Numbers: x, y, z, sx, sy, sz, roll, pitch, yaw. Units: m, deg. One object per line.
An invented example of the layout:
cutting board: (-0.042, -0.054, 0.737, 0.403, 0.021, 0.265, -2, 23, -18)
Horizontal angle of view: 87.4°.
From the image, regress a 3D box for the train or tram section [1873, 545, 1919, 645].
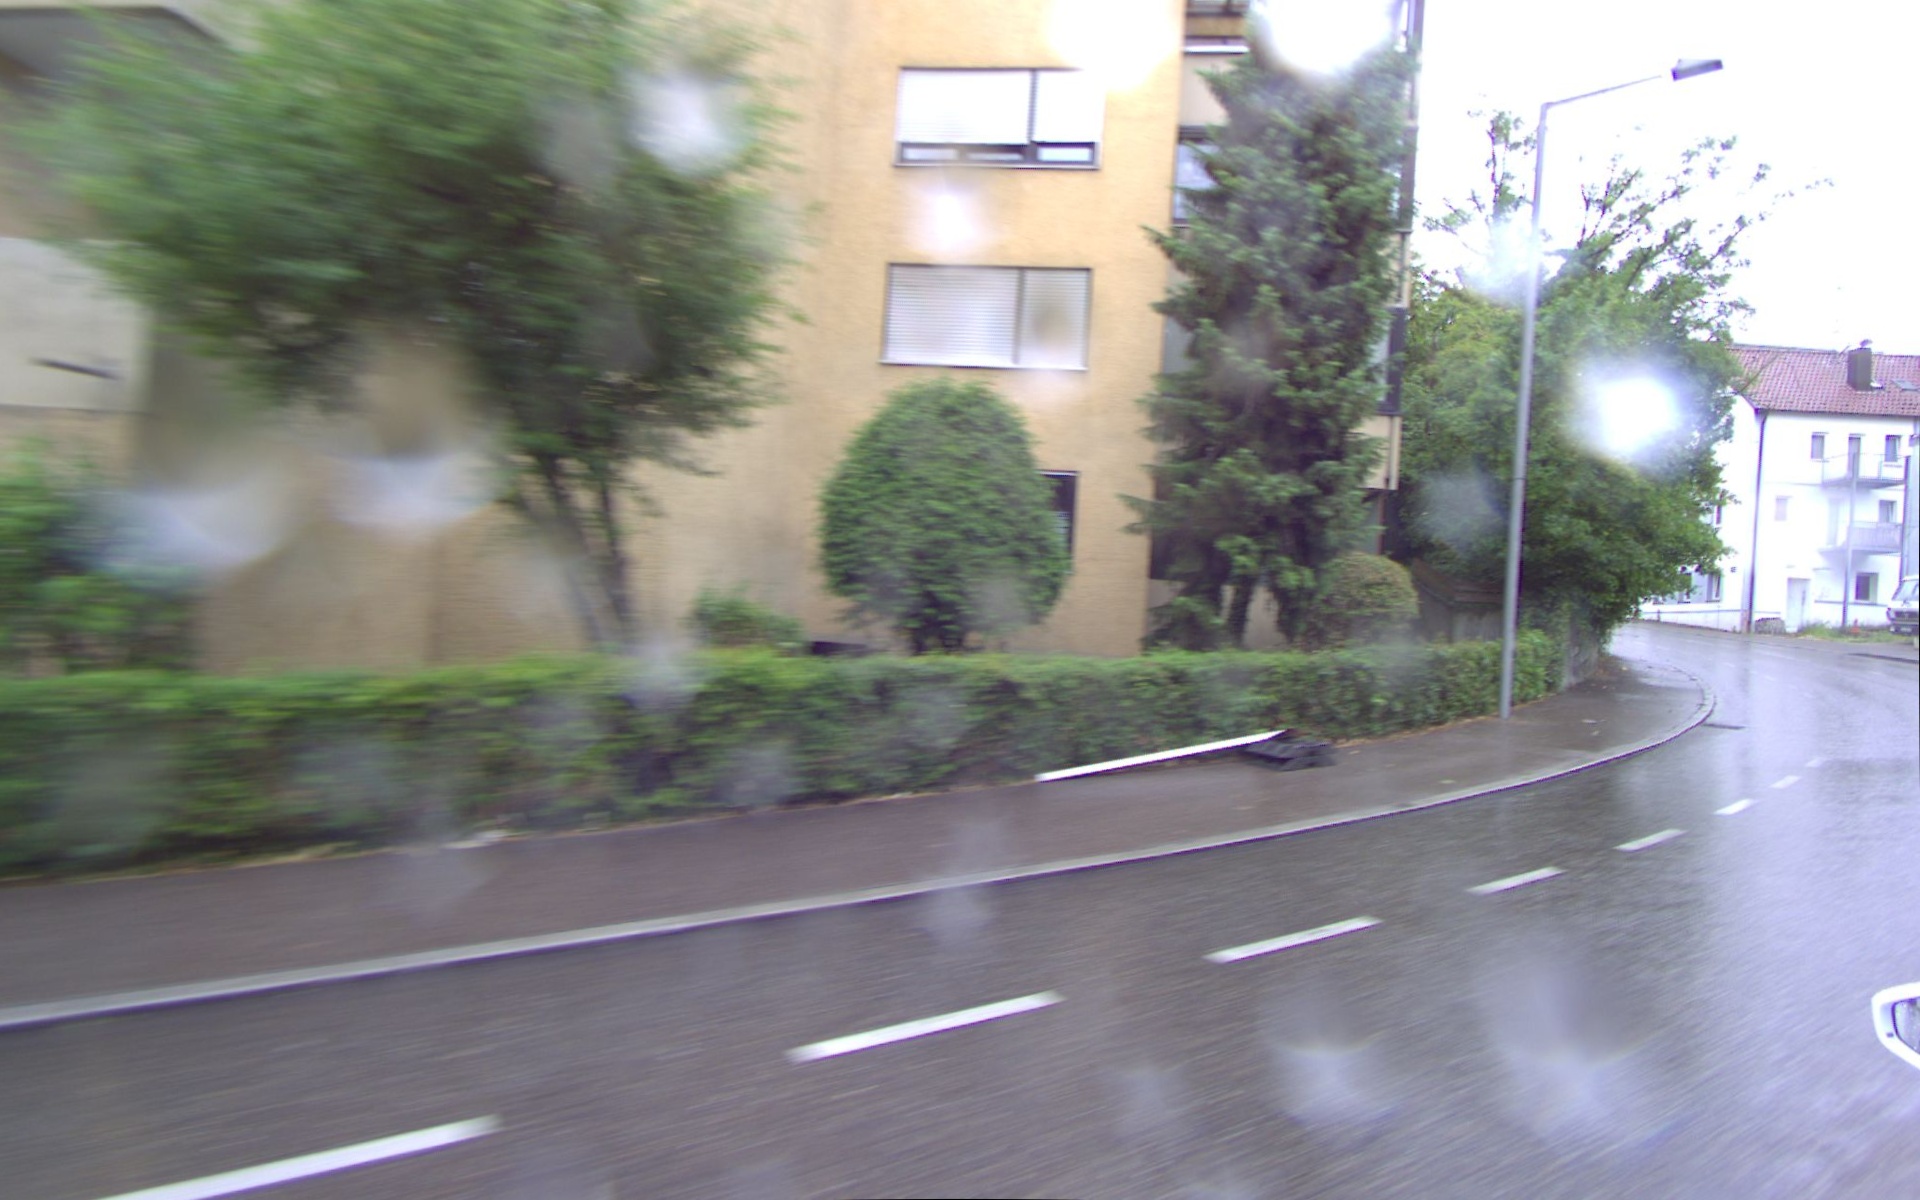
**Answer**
train or tram section: (34.587, -0.122, 32.869, 6.730, 3.246, 2.367, 1, 0, 10)
